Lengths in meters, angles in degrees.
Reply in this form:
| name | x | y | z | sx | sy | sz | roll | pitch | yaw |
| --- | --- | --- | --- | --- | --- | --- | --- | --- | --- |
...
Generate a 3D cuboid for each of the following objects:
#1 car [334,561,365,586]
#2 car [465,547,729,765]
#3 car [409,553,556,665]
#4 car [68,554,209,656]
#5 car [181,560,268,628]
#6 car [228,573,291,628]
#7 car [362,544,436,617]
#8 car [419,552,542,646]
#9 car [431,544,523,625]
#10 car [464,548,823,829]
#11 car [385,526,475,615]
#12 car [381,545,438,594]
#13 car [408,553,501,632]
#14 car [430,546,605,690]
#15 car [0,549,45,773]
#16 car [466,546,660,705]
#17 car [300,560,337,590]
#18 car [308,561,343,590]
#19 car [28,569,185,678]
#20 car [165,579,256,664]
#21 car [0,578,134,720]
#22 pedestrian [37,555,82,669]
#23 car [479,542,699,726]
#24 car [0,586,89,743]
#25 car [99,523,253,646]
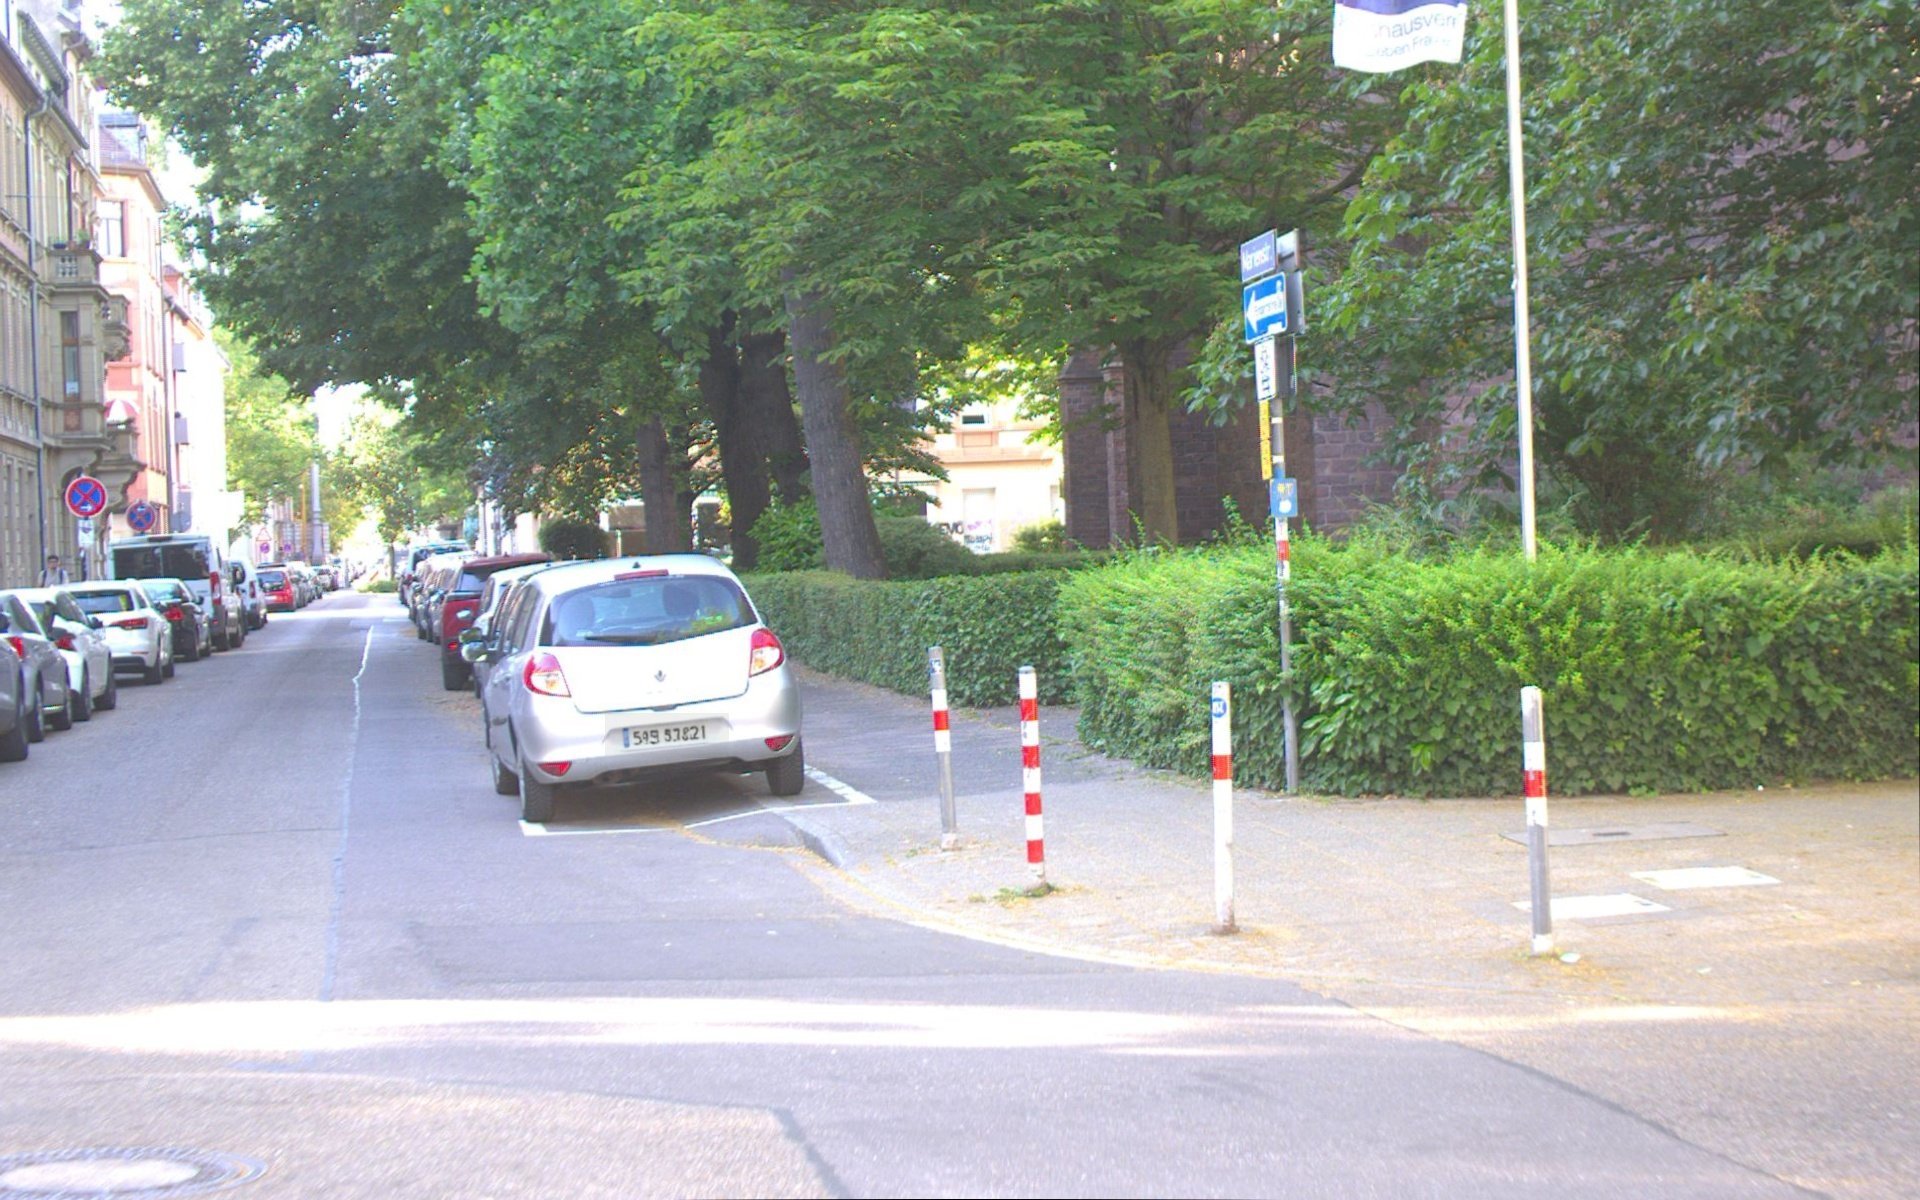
| name | x | y | z | sx | sy | sz | roll | pitch | yaw |
| --- | --- | --- | --- | --- | --- | --- | --- | --- | --- |
| car | -41.162 | -1.787 | 231.802 | 1.993 | 1.641 | 4.001 | -2 | 1 | -10 |
| car | -2.928 | 0.393 | 27.094 | 1.722 | 1.517 | 4.001 | -2 | 1 | -10 |
| car | -7.300 | 0.119 | 52.265 | 1.993 | 1.568 | 4.001 | -2 | 1 | -10 |
| car | -13.593 | 0.067 | 57.084 | 1.993 | 1.568 | 4.001 | -2 | 1 | -10 |
| car | -18.088 | -0.151 | 84.638 | 1.902 | 1.568 | 4.001 | -2 | 1 | -10 |
| car | -23.162 | 0.003 | 113.771 | 1.949 | 1.703 | 4.001 | -2 | 1 | -11 |
| car | -13.596 | -0.489 | 83.227 | 1.688 | 1.722 | 4.001 | 0 | 1 | -10 |
| car | -8.744 | -0.030 | 62.467 | 1.993 | 1.568 | 4.001 | -2 | 1 | -10 |
| car | -10.852 | -0.374 | 77.020 | 1.829 | 1.698 | 4.001 | -2 | 1 | -10 |
| car | -2.082 | 0.474 | 21.626 | 1.723 | 1.517 | 4.001 | -3 | 1 | -12 |
| car | -14.209 | -0.777 | 92.014 | 2.160 | 2.248 | 4.527 | -2 | 1 | -10 |
| car | -20.655 | -1.170 | 128.980 | 1.993 | 1.722 | 4.001 | -3 | 1 | -10 |
| car | -10.860 | -0.162 | 73.695 | 1.792 | 1.568 | 4.001 | -2 | 1 | -10 |
| car | -5.522 | 0.198 | 42.547 | 1.894 | 1.619 | 4.001 | -2 | 1 | -10 |
| car | -8.361 | 0.511 | 26.738 | 1.881 | 1.701 | 4.001 | -4 | 1 | -9 |
| car | -4.419 | 0.234 | 37.828 | 1.841 | 1.590 | 4.001 | -2 | 1 | -10 |
| car | -37.485 | -1.450 | 201.091 | 1.993 | 1.641 | 4.001 | -2 | 1 | -10 |
| car | -38.693 | -1.505 | 209.719 | 1.993 | 1.641 | 4.001 | -2 | 1 | -10 |
| car | -11.674 | 0.290 | 47.217 | 1.771 | 1.349 | 4.001 | -2 | 1 | -10 |
| car | -16.830 | 0.459 | 77.350 | 1.792 | 1.568 | 4.002 | -2 | 4 | -10 |
| car | -10.223 | 0.523 | 37.639 | 1.881 | 1.406 | 4.001 | -4 | 1 | -9 |
| pedestrian | -16.034 | 0.212 | 61.203 | 0.684 | 2.007 | 0.692 | -2 | 1 | -16 |
| car | -3.586 | 0.292 | 32.703 | 1.740 | 1.568 | 4.001 | -2 | 1 | -10 |
| car | -9.490 | 0.607 | 33.183 | 1.725 | 1.388 | 4.001 | -2 | 1 | -10 |
| car | -14.597 | -0.295 | 64.285 | 2.308 | 2.107 | 5.171 | -2 | 1 | -8 |
